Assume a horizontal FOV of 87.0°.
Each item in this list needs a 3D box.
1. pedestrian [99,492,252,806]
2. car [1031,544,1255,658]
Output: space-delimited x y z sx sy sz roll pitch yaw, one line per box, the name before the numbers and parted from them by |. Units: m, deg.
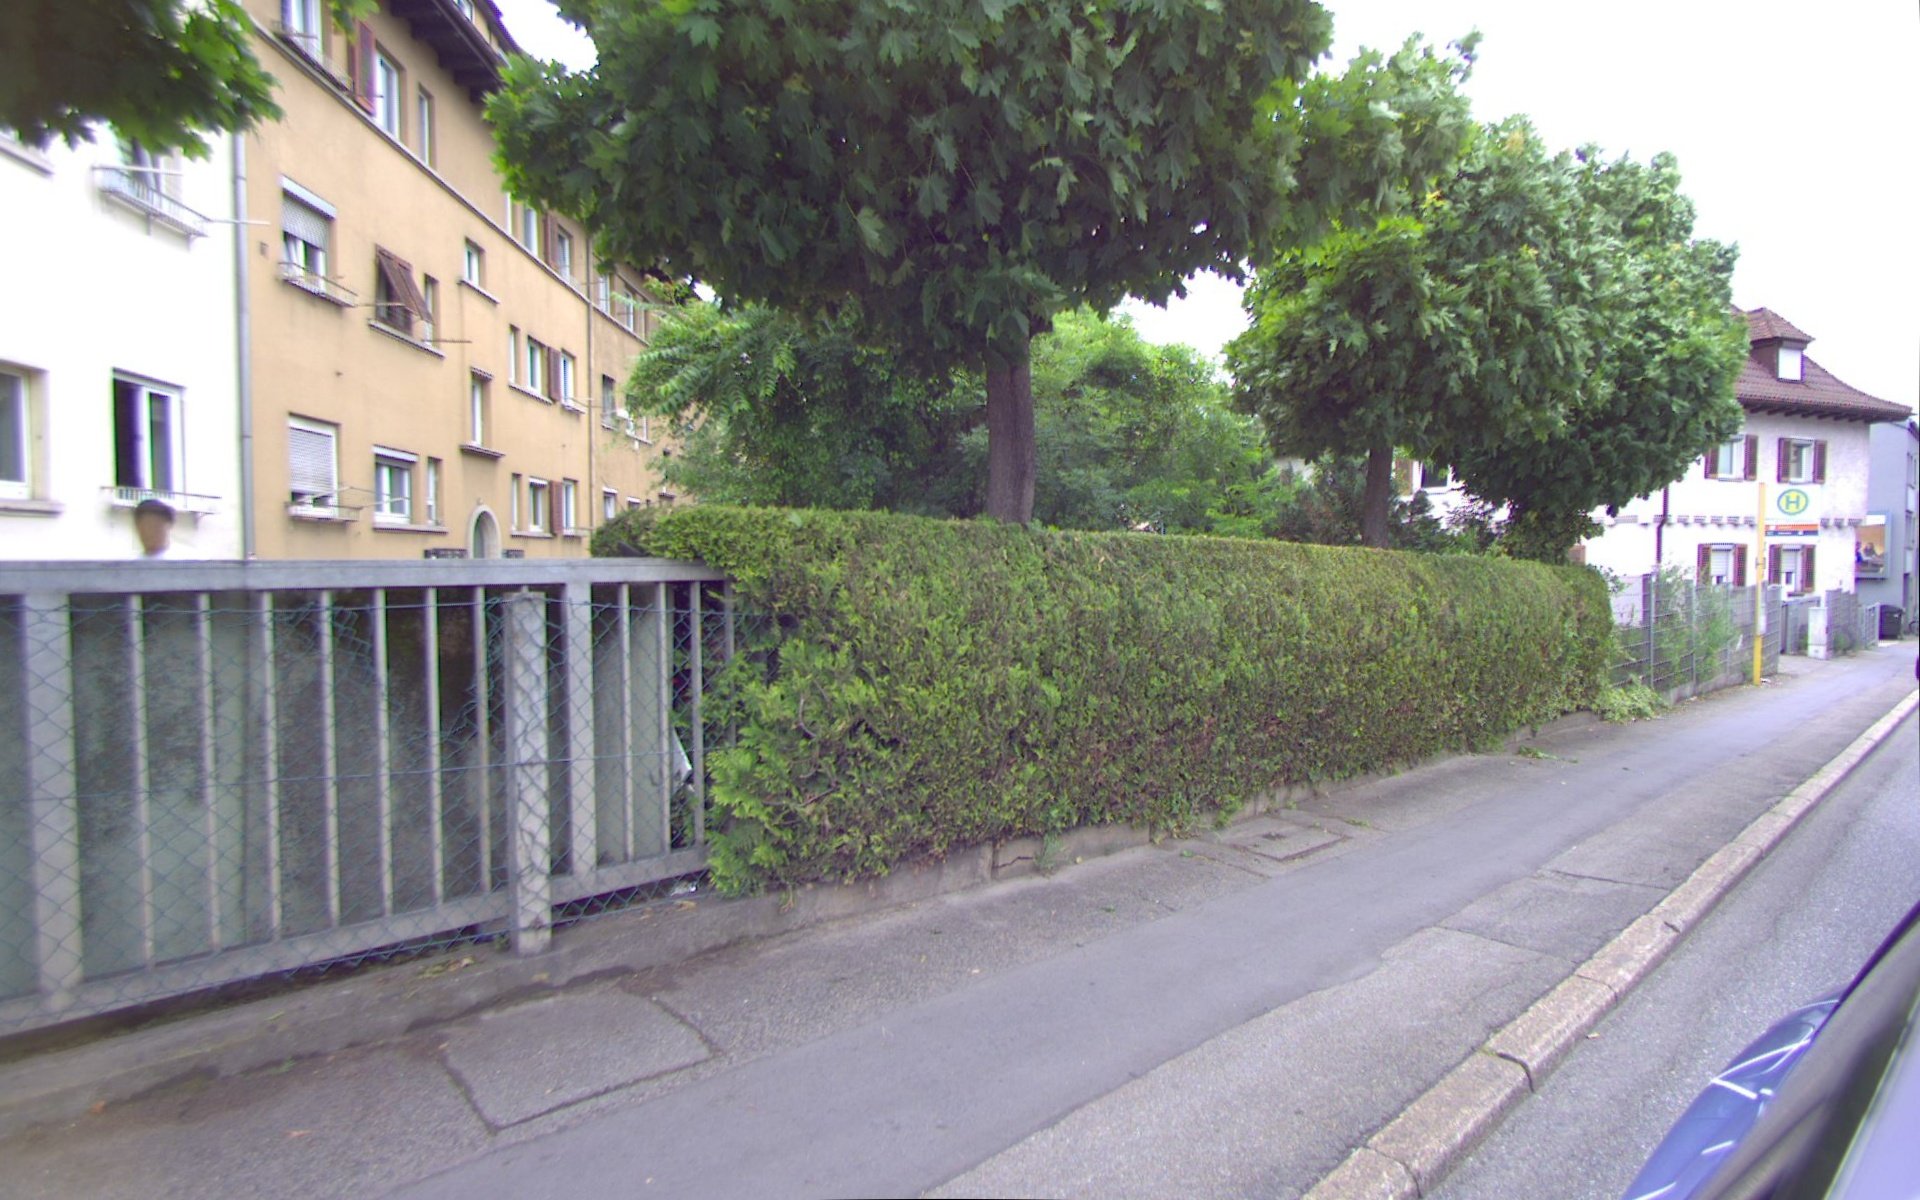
pedestrian | -4.705 0.270 6.076 0.684 1.759 0.466 0 1 -44
car | 3.474 0.004 19.793 3.923 2.039 2.001 1 1 -1
